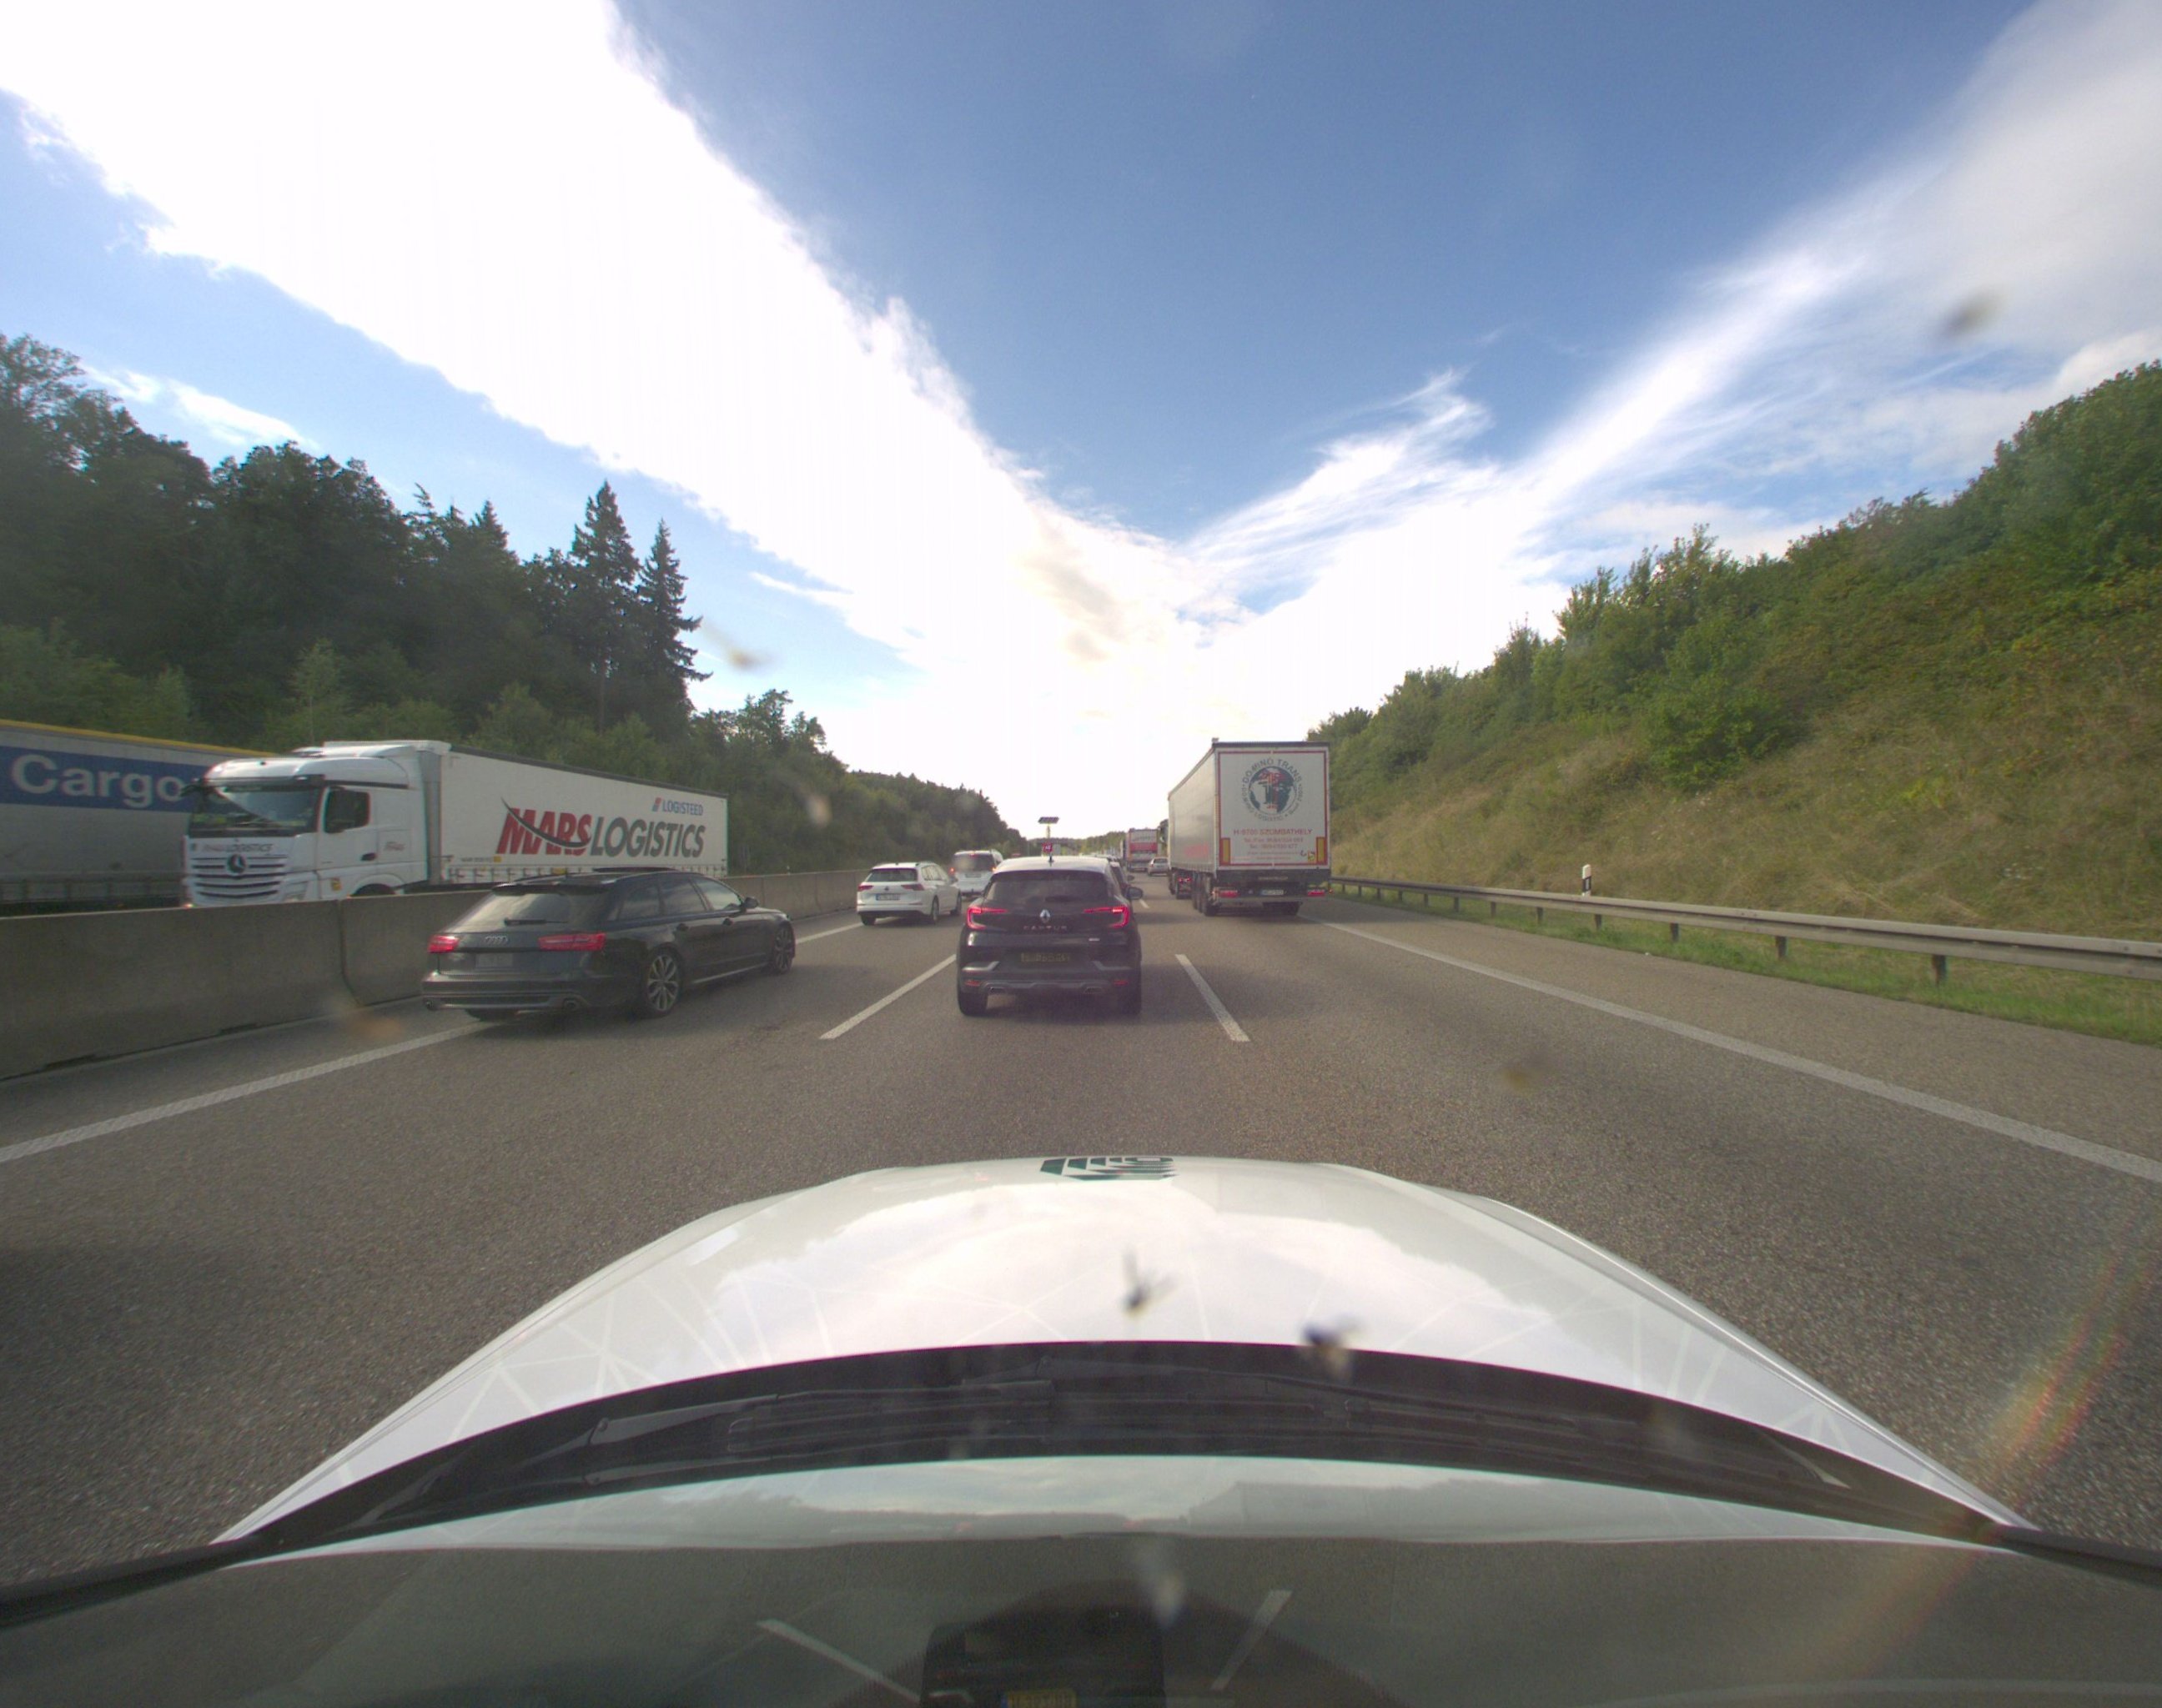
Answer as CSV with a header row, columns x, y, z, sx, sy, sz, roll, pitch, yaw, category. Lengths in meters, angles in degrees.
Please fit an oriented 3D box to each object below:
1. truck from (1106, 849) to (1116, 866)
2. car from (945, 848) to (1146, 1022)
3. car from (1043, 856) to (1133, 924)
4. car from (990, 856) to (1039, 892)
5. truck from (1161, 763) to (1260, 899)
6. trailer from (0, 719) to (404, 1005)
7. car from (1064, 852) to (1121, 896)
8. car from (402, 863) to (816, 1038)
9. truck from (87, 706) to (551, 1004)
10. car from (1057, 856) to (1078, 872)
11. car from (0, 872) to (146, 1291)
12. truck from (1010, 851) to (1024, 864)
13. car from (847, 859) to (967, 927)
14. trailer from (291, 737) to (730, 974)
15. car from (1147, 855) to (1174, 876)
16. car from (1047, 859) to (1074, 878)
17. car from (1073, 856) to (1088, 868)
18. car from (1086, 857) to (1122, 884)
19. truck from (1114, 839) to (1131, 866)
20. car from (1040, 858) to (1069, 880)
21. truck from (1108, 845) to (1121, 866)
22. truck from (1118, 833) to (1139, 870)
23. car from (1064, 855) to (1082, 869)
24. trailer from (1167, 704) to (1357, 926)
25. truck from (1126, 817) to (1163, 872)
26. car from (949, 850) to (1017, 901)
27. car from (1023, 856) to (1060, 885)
x,y,z,sx,sy,sz,roll,pitch,yaw,category
9.836,1.137,264.305,3.153,5.505,12.746,0,-1,3,truck
-0.172,0.746,9.360,1.796,1.552,4.005,-1,0,4,car
0.251,0.822,20.235,1.985,1.514,4.002,0,-1,3,car
-3.155,0.961,39.600,1.848,1.641,3.928,0,-1,3,car
4.758,-0.801,31.133,2.986,4.667,5.942,-1,0,2,truck
-19.699,0.144,14.331,2.916,4.830,14.659,0,-1,2,trailer
0.481,0.734,30.434,1.985,1.514,4.002,0,-1,3,car
-4.844,0.858,9.393,1.835,1.456,4.751,0,0,3,car
-15.402,0.048,17.556,3.076,5.101,7.144,0,-1,2,truck
-1.417,1.000,85.524,1.985,1.613,4.003,-1,0,3,car
-4.759,0.831,1.305,1.740,1.465,4.043,-1,0,2,car
-14.351,0.768,183.581,2.413,2.855,6.433,0,0,2,truck
-4.159,0.885,20.157,1.797,1.461,4.312,-1,-1,3,car
-15.202,0.112,24.382,3.077,5.074,13.838,0,-1,2,trailer
6.117,0.892,63.077,1.798,1.533,3.926,0,-1,1,car
-1.757,1.239,71.104,1.985,1.613,4.002,0,-1,3,car
-0.033,1.131,116.087,1.985,1.613,4.003,-1,0,3,car
1.400,0.928,47.563,1.985,1.514,4.002,0,-1,3,car
8.743,-0.191,171.246,3.152,5.505,12.751,0,-1,4,truck
-2.020,1.153,63.570,1.985,1.613,4.002,0,-1,3,car
8.522,0.446,204.344,3.153,5.159,12.746,0,-1,3,truck
7.576,-0.335,130.019,3.153,5.505,12.746,0,-1,3,truck
-0.960,0.990,102.628,1.985,1.613,4.003,-1,0,3,car
4.529,-0.815,23.870,2.991,4.661,13.295,-1,0,2,trailer
6.122,-0.786,80.311,3.351,5.044,12.746,0,-1,3,truck
-3.625,0.771,30.828,1.905,1.789,4.418,0,-1,1,car
-2.434,1.012,51.263,1.985,1.722,4.002,0,-1,3,car
